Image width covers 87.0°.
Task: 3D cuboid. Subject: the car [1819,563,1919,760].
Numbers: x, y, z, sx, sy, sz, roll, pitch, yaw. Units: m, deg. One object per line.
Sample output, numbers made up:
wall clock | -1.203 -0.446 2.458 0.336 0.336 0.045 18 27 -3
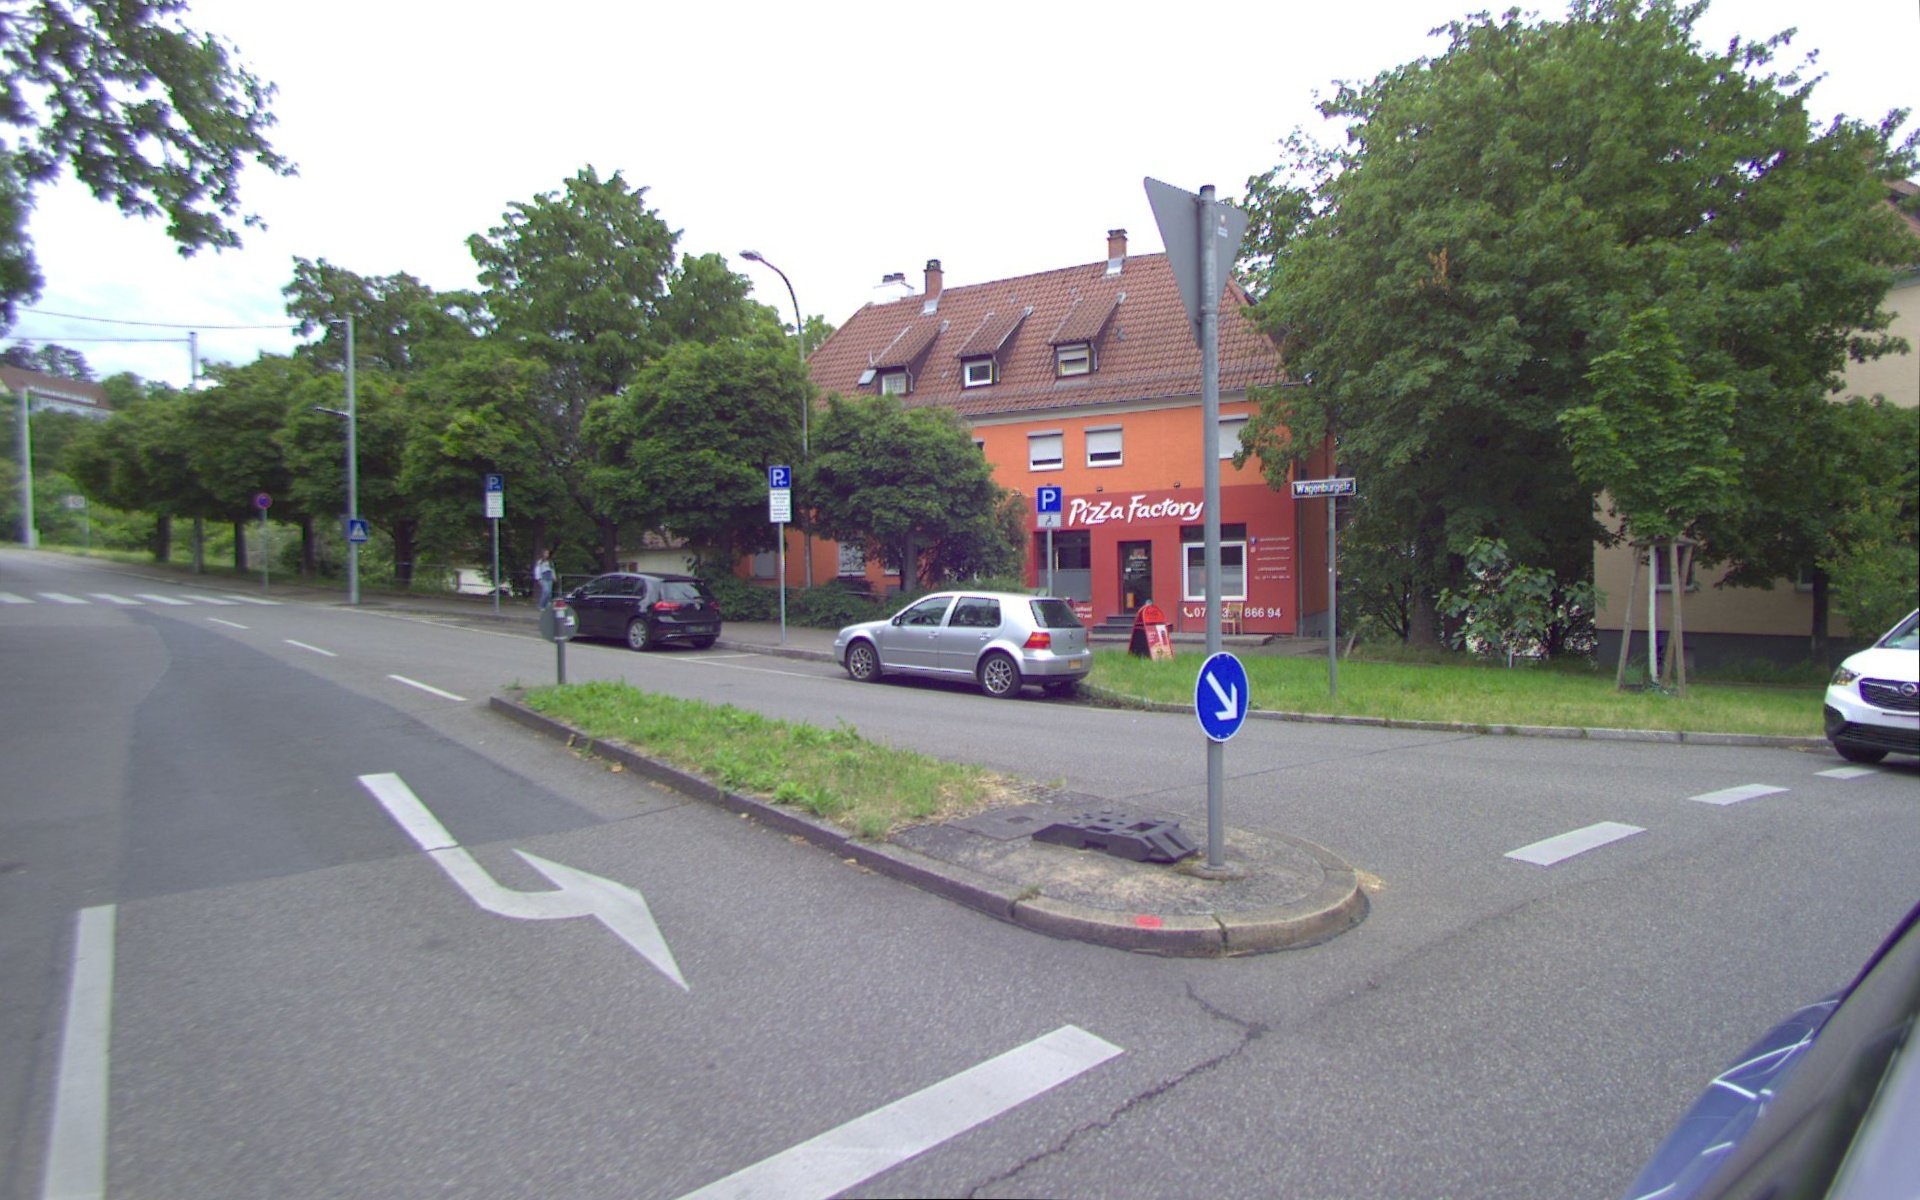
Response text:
car | 11.101 0.637 10.067 4.742 1.812 1.794 2 0 -21

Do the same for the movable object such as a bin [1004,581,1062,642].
movable object such as a bin | 1.850 0.264 25.638 1.071 1.468 1.232 2 1 26

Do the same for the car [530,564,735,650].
car | -6.540 0.076 20.059 4.104 1.446 1.716 3 2 35

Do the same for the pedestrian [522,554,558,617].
pedestrian | -10.728 -0.387 25.866 0.489 1.563 0.671 2 3 27

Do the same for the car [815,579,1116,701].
car | 0.018 0.526 14.978 4.104 1.446 1.839 3 0 35
